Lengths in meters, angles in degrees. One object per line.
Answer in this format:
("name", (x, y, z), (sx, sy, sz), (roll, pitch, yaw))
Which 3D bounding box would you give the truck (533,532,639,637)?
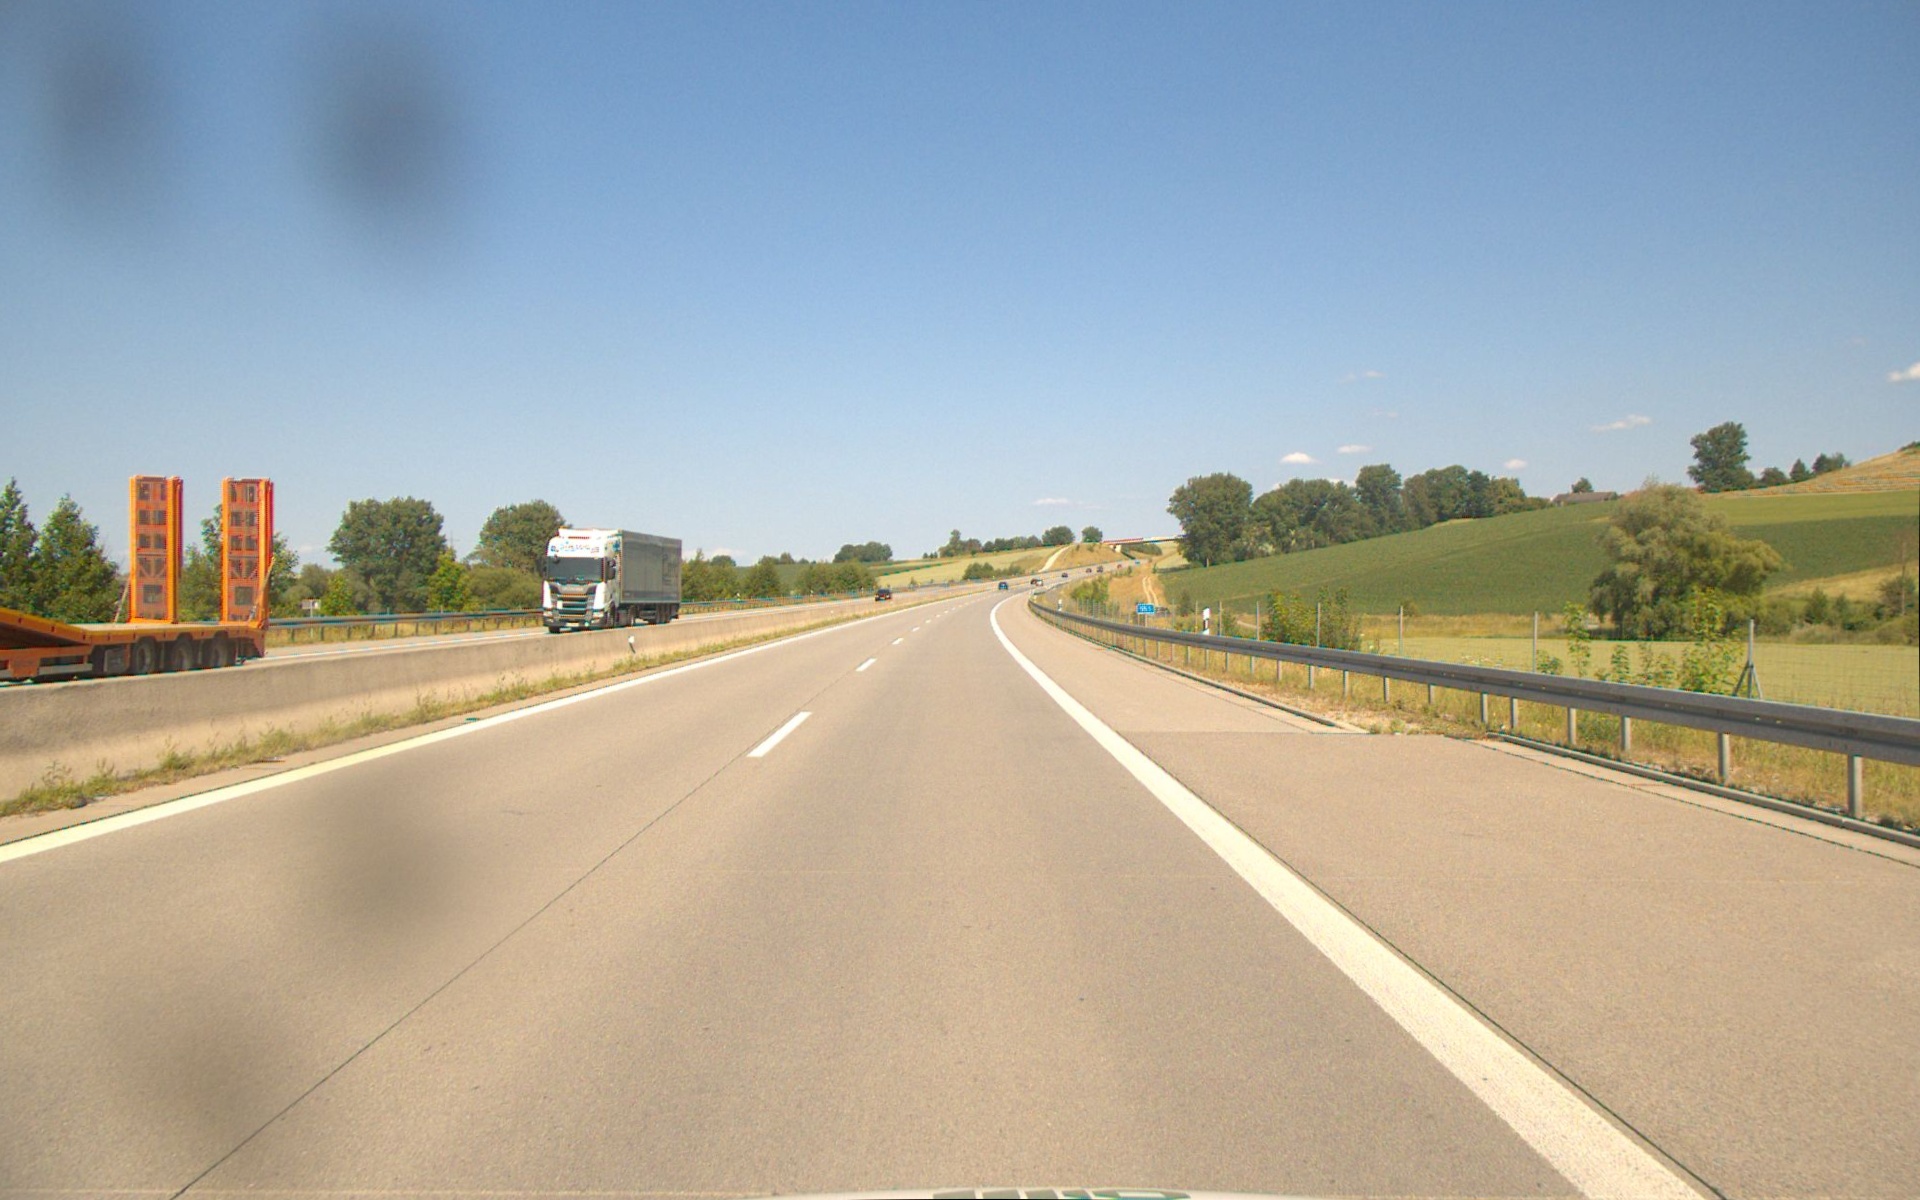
("truck", (-14.688, -0.594, 65.450), (2.802, 3.941, 5.983), (0, 0, 0))

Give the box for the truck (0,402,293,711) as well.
("truck", (-14.143, -0.576, 23.252), (2.809, 4.086, 17.112), (0, 0, -1))

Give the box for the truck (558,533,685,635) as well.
("truck", (-14.708, -0.633, 73.172), (2.801, 4.078, 13.867), (0, 0, 0))

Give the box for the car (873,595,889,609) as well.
("car", (-9.229, 0.265, 193.640), (1.675, 1.617, 4.627), (1, 0, 0))
